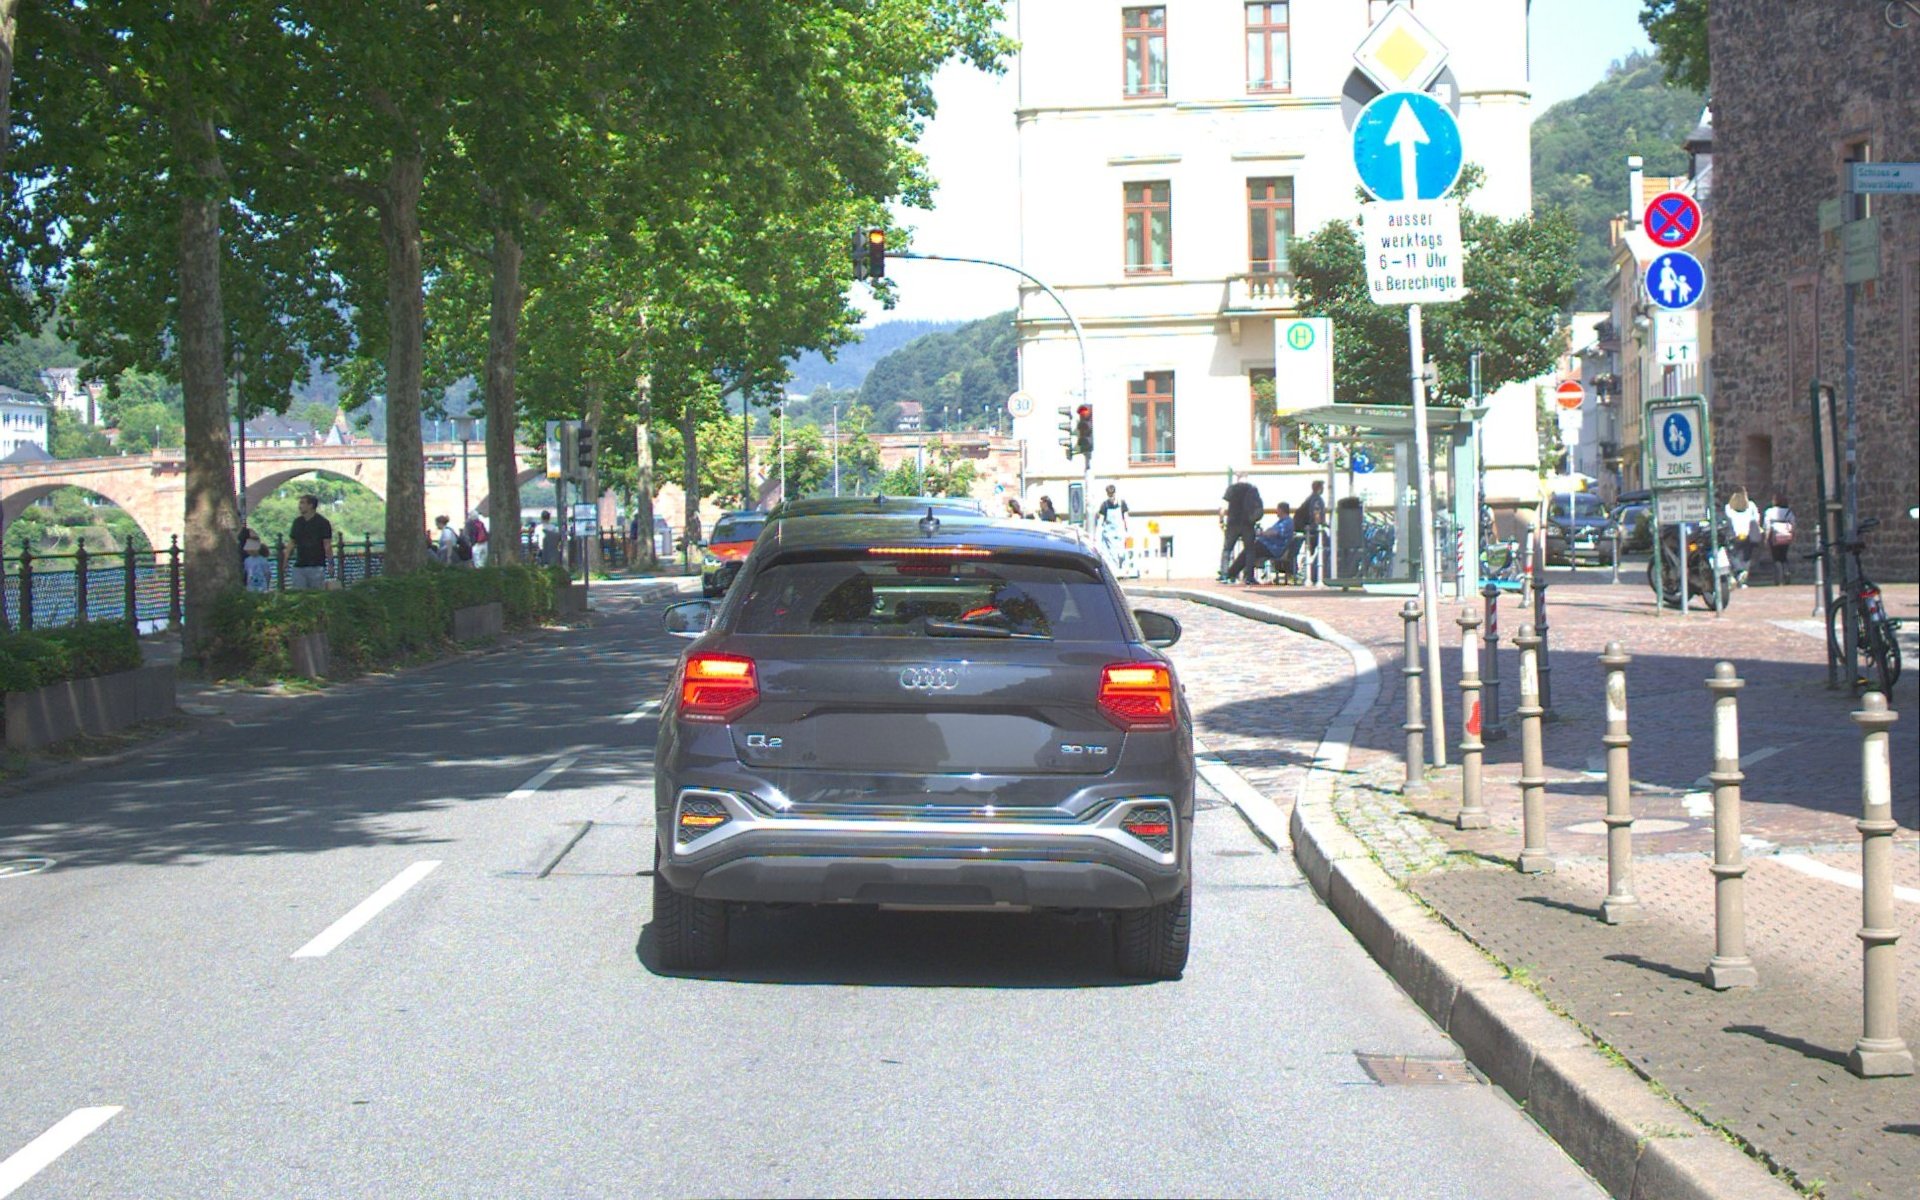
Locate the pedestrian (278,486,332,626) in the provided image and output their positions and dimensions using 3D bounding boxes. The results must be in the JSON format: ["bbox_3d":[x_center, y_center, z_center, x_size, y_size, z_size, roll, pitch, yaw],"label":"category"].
[{"bbox_3d":[-8.229,-0.554,43.202,0.563,1.735,0.665,-1,1,-3],"label":"pedestrian"}]

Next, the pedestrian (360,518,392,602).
[{"bbox_3d":[-10.833,-0.742,63.770,0.497,1.532,0.680,-2,1,-7],"label":"pedestrian"}]

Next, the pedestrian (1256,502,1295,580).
[{"bbox_3d":[4.969,-0.929,54.132,0.546,1.197,0.522,1,1,1],"label":"pedestrian"}]

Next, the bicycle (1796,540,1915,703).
[{"bbox_3d":[5.944,0.118,22.886,0.496,1.027,2.050,-1,1,8],"label":"bicycle"}]

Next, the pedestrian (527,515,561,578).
[{"bbox_3d":[-8.610,-1.103,71.164,0.591,1.274,0.525,-2,1,0],"label":"pedestrian"}]

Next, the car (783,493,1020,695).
[{"bbox_3d":[-0.457,-0.098,28.549,1.801,1.517,3.716,-2,2,0],"label":"car"}]

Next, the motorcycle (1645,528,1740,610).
[{"bbox_3d":[7.705,-0.339,36.238,0.483,0.815,2.280,-2,2,0],"label":"motorcycle"}]

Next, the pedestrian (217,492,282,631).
[{"bbox_3d":[-8.910,-0.485,43.149,0.645,1.711,0.665,-2,1,-3],"label":"pedestrian"}]

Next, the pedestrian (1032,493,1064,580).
[{"bbox_3d":[1.598,-1.155,62.376,0.557,1.552,0.660,1,1,1],"label":"pedestrian"}]

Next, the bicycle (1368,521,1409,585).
[{"bbox_3d":[6.693,-0.743,53.728,0.450,0.971,1.400,1,1,0],"label":"bicycle"}]

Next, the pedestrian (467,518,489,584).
[{"bbox_3d":[-10.549,-1.072,75.232,0.409,1.420,0.457,1,1,-3],"label":"pedestrian"}]

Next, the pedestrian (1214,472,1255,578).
[{"bbox_3d":[4.264,-1.159,53.421,0.557,1.627,0.660,1,1,1],"label":"pedestrian"}]

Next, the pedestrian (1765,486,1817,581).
[{"bbox_3d":[13.331,-1.068,55.150,0.658,1.512,0.627,1,1,1],"label":"pedestrian"}]

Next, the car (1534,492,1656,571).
[{"bbox_3d":[14.440,-1.572,78.411,1.993,1.710,4.000,1,1,0],"label":"car"}]

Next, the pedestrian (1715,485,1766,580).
[{"bbox_3d":[12.548,-1.090,55.293,0.658,1.512,0.548,1,1,1],"label":"pedestrian"}]

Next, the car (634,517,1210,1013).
[{"bbox_3d":[-0.165,0.466,12.386,1.748,1.489,3.629,1,2,-2],"label":"car"}]

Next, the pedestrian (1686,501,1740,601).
[{"bbox_3d":[11.359,-0.739,51.887,0.658,1.488,0.548,1,1,1],"label":"pedestrian"}]

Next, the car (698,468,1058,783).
[{"bbox_3d":[-0.426,0.083,19.537,1.801,1.557,3.716,-2,1,0],"label":"car"}]

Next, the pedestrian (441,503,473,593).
[{"bbox_3d":[-9.243,-0.958,63.195,0.517,1.632,0.439,-2,1,-7],"label":"pedestrian"}]

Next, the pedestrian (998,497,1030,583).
[{"bbox_3d":[0.989,-1.102,62.826,0.557,1.552,0.660,1,1,1],"label":"pedestrian"}]

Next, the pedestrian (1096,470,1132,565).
[{"bbox_3d":[2.552,-1.366,57.006,0.557,1.552,0.660,1,1,1],"label":"pedestrian"}]

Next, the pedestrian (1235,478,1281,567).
[{"bbox_3d":[5.243,-1.365,60.483,0.747,1.552,0.588,1,1,1],"label":"pedestrian"}]

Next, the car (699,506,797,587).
[{"bbox_3d":[-4.196,-1.081,68.418,1.615,1.517,3.476,-2,1,1],"label":"car"}]

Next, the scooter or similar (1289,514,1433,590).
[{"bbox_3d":[5.337,-0.642,45.773,1.845,0.960,0.429,1,1,-1],"label":"scooter or similar"}]
